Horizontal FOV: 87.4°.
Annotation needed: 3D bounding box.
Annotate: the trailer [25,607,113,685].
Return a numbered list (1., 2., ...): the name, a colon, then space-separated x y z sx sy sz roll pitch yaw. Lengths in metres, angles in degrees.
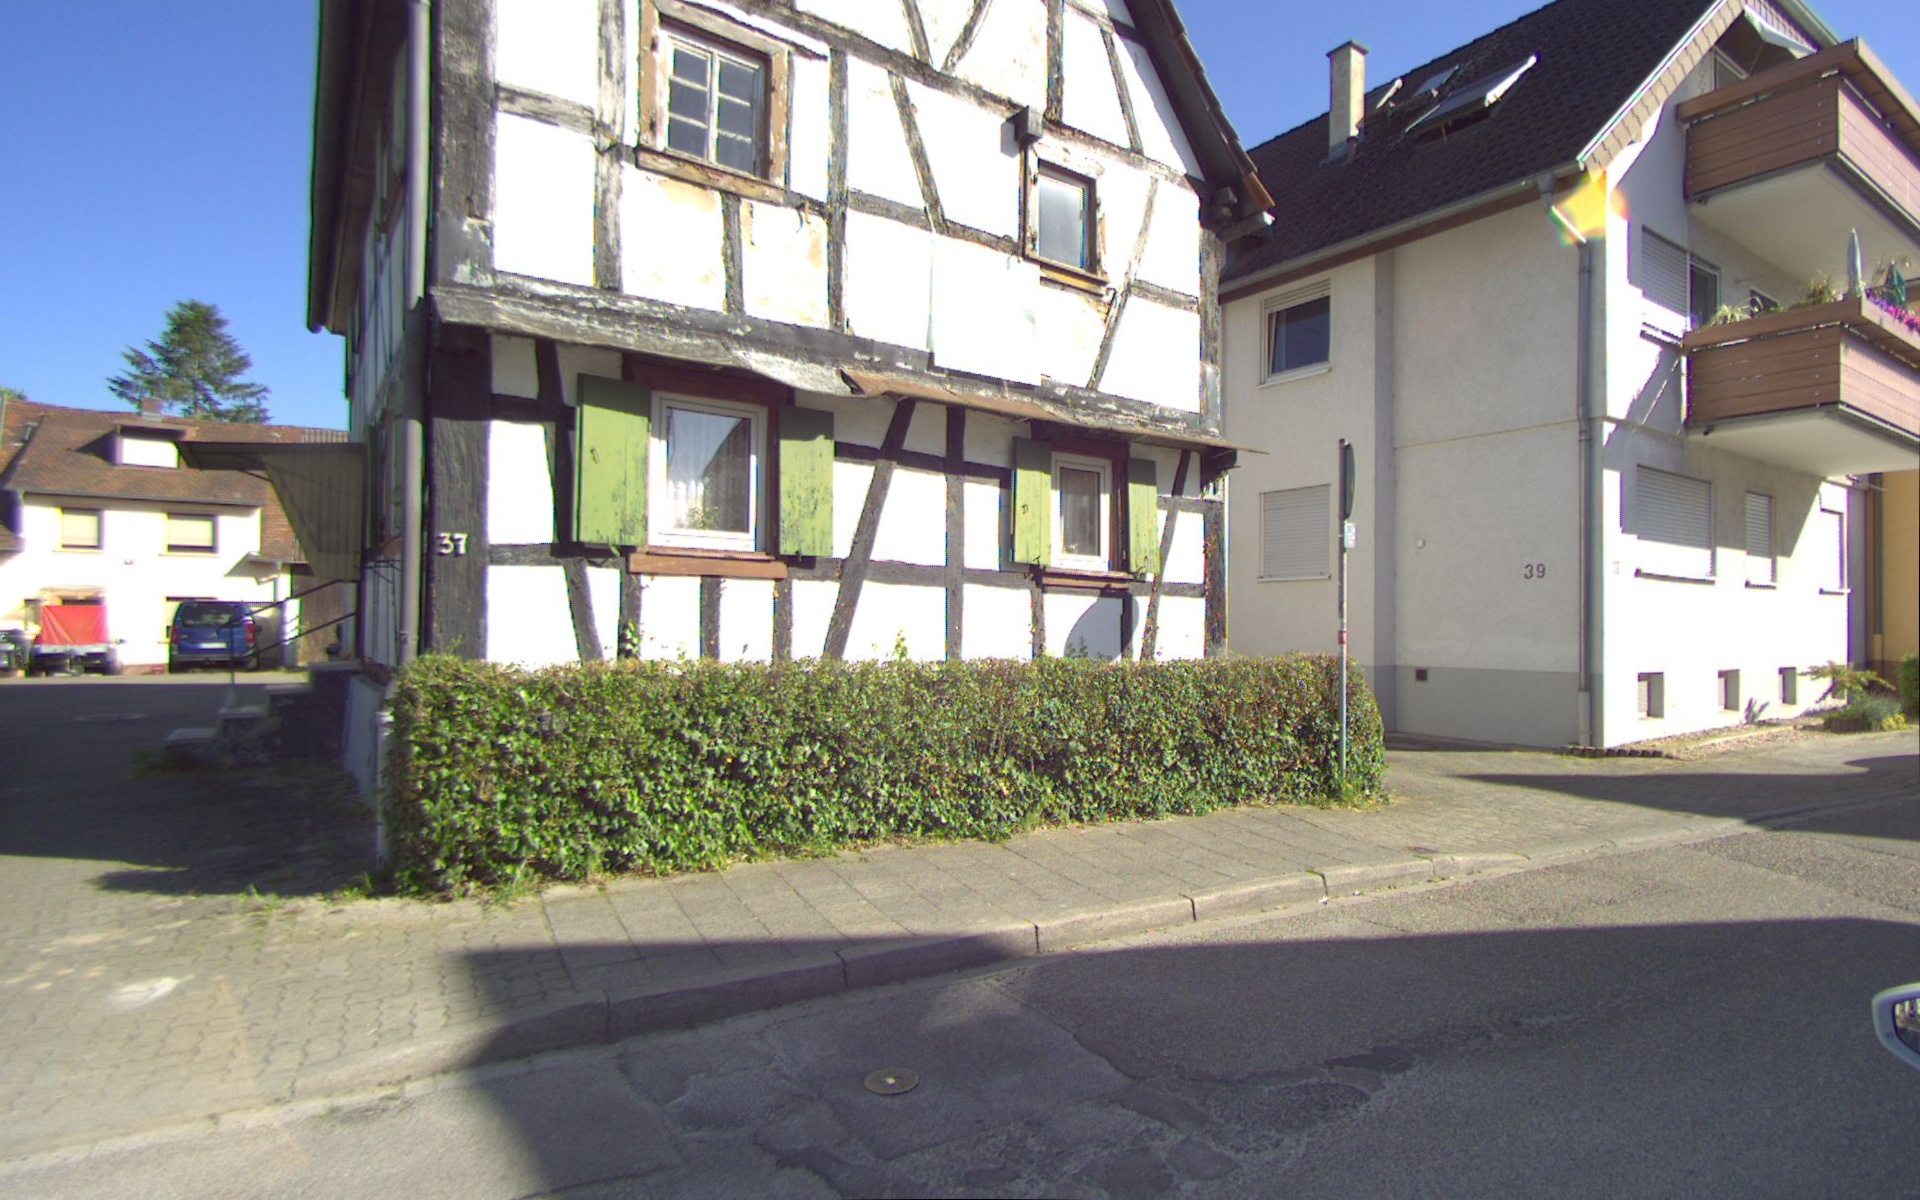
1. trailer: -21.619 1.069 24.421 1.457 1.691 3.558 3 -1 -41

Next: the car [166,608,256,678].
1. car: -19.453 1.056 26.030 1.696 1.657 3.905 2 -1 -39
